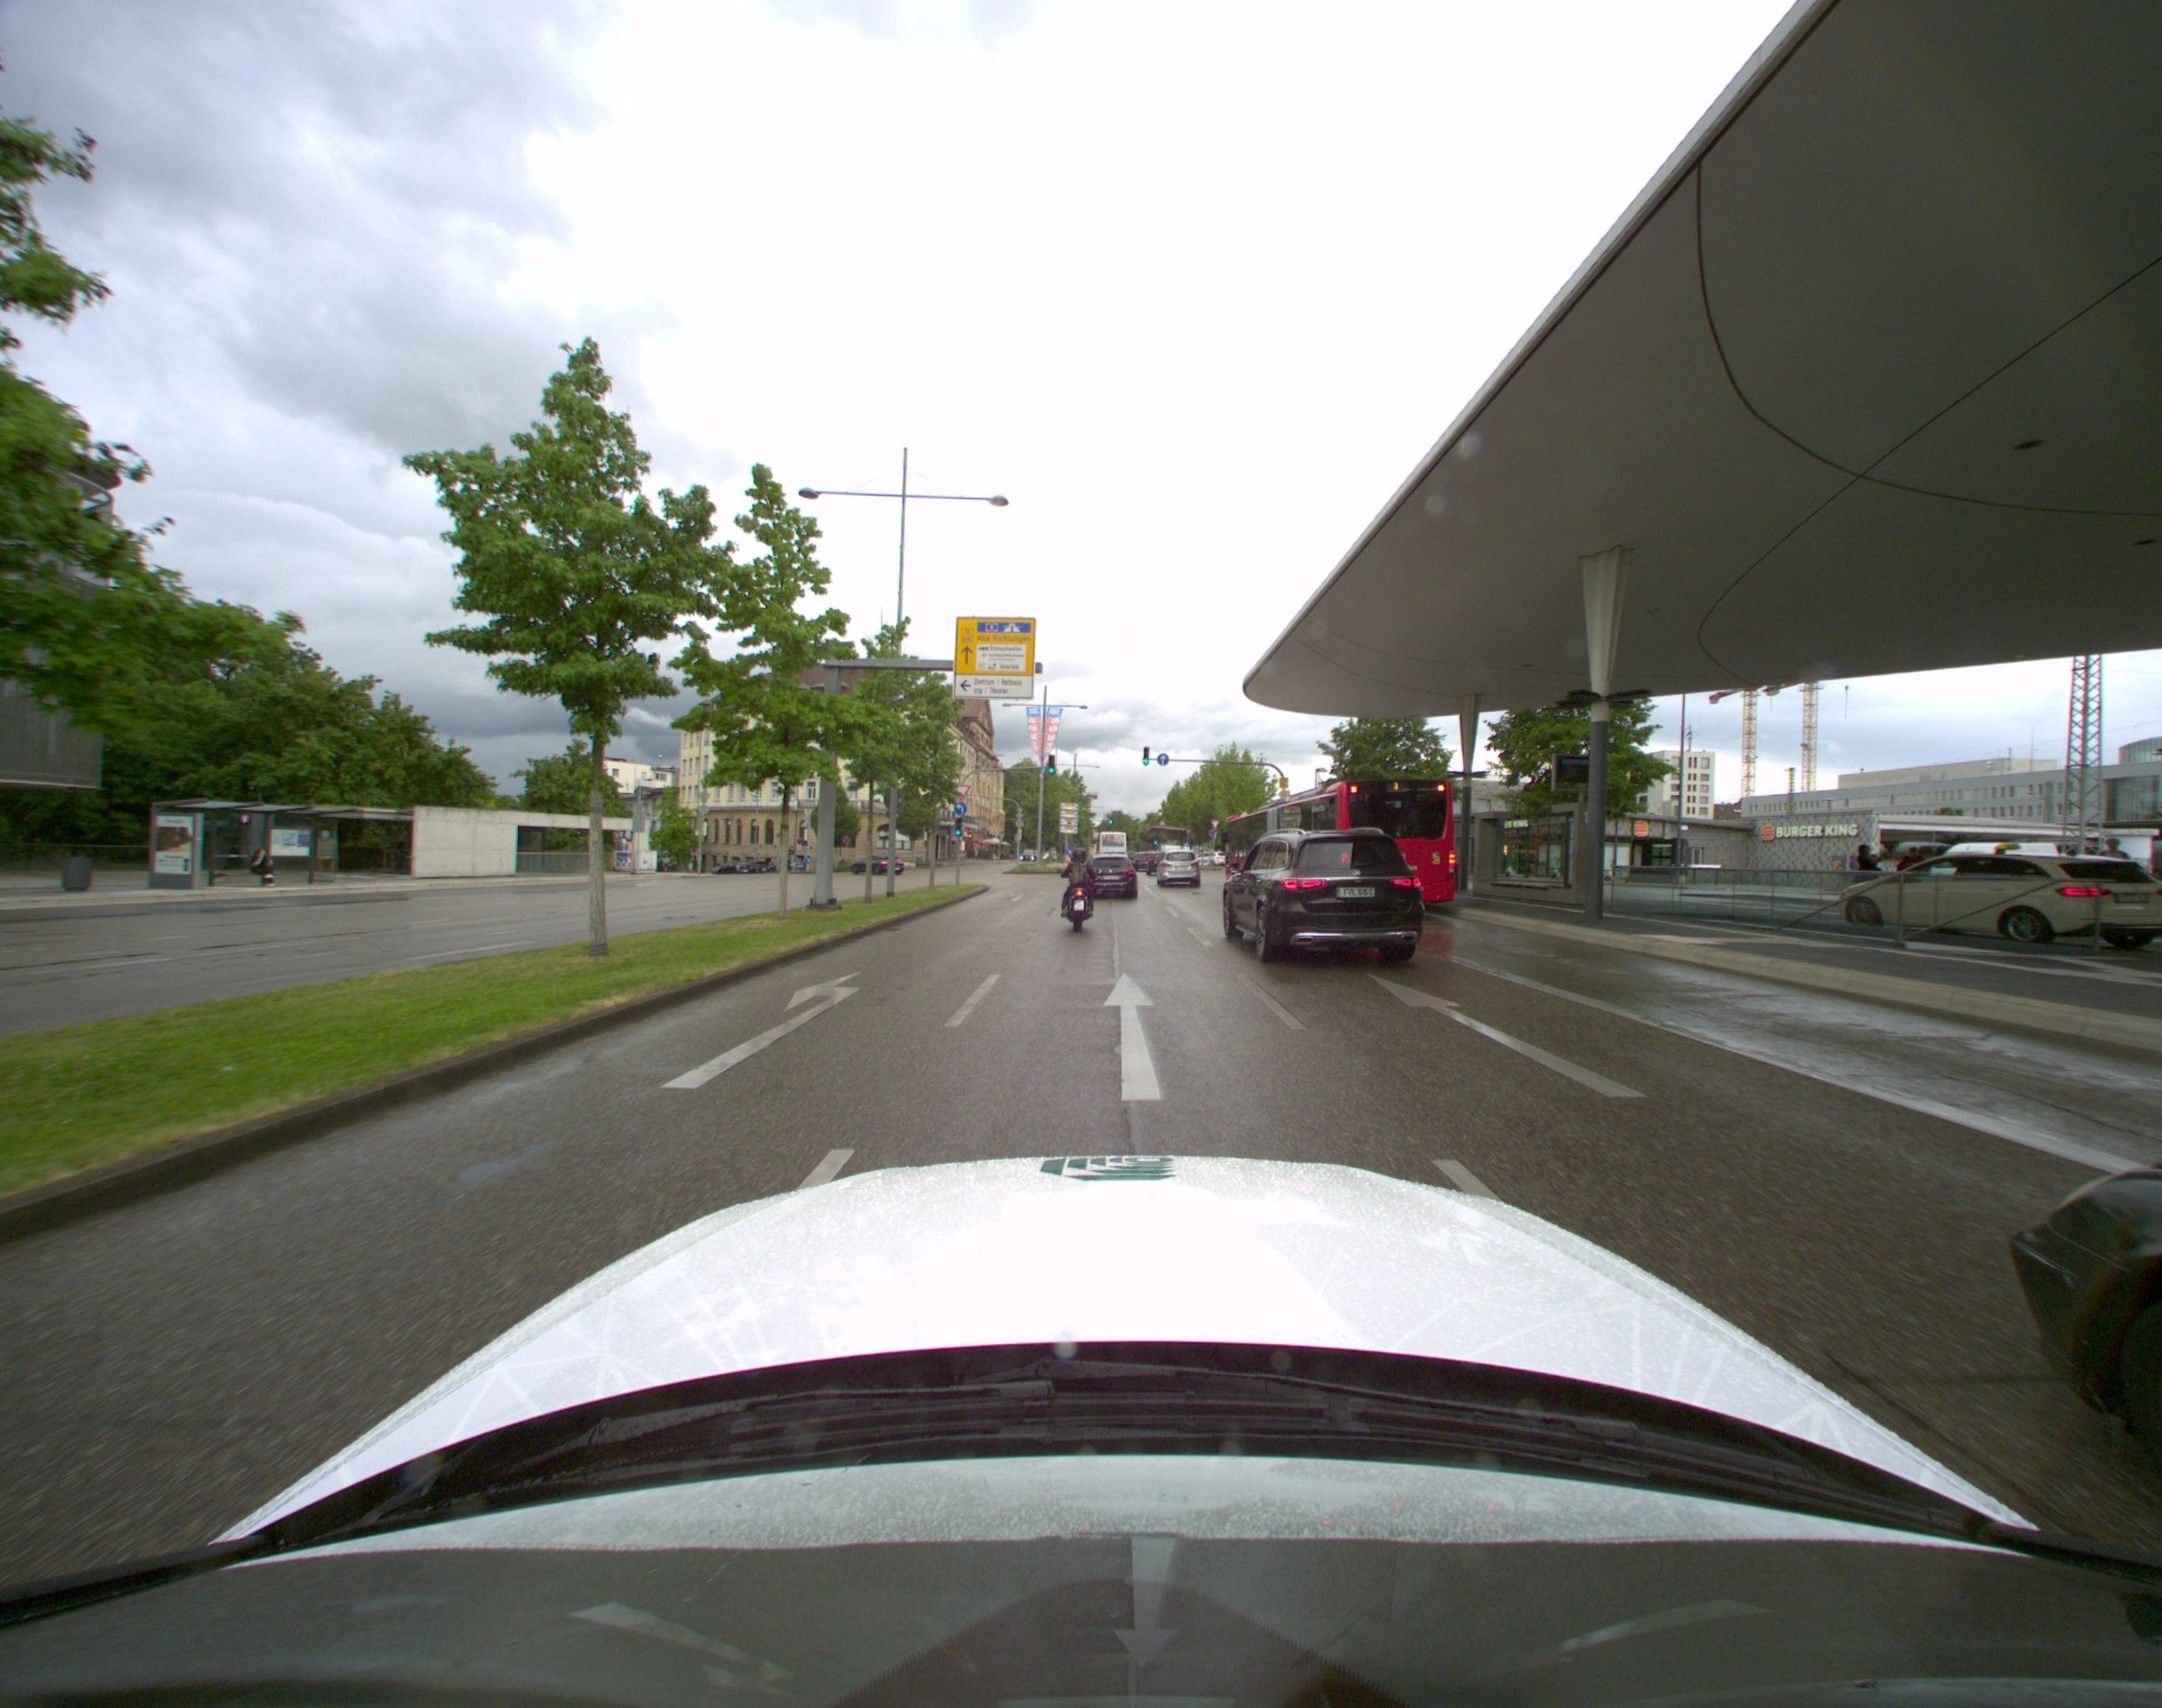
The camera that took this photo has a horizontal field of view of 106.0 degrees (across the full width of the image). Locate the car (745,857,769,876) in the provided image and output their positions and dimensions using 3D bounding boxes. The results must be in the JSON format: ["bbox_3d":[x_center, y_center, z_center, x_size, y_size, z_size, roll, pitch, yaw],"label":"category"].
[{"bbox_3d":[-30.166,1.128,75.787,1.667,1.604,3.223,-3,1,-27],"label":"car"}]

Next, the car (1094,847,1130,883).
[{"bbox_3d":[1.432,0.467,37.962,1.570,1.567,3.872,-1,0,2],"label":"car"}]

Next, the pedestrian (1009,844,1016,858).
[{"bbox_3d":[-10.028,-0.408,118.877,0.727,1.966,0.819,0,0,-25],"label":"pedestrian"}]

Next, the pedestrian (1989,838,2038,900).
[{"bbox_3d":[24.782,0.401,21.647,0.583,1.578,0.766,7,-4,-30],"label":"pedestrian"}]

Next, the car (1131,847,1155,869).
[{"bbox_3d":[4.596,0.288,60.756,1.570,1.567,3.797,-1,0,2],"label":"car"}]

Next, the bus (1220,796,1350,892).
[{"bbox_3d":[7.695,-0.347,32.112,3.278,3.289,8.854,0,0,2],"label":"bus"}]

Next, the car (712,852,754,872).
[{"bbox_3d":[-29.997,0.685,70.170,3.658,1.628,1.854,0,-1,39],"label":"car"}]

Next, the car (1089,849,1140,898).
[{"bbox_3d":[1.125,0.595,27.480,1.569,1.504,3.873,-1,0,2],"label":"car"}]

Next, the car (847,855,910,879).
[{"bbox_3d":[-14.386,0.944,57.796,4.347,1.570,1.834,-1,0,33],"label":"car"}]

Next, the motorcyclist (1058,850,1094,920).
[{"bbox_3d":[-0.098,0.589,15.883,0.638,1.347,0.690,0,0,5],"label":"motorcyclist"}]

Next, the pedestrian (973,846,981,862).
[{"bbox_3d":[-12.815,-0.005,100.087,0.727,2.013,0.819,0,0,-25],"label":"pedestrian"}]

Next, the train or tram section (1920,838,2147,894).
[{"bbox_3d":[72.880,0.810,63.049,3.120,3.659,12.326,4,0,1],"label":"train or tram section"}]

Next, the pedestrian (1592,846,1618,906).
[{"bbox_3d":[14.899,0.615,23.159,0.569,1.678,0.586,0,-1,28],"label":"pedestrian"}]

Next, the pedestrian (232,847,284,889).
[{"bbox_3d":[-27.203,0.452,26.932,0.967,1.267,0.854,4,1,22],"label":"pedestrian"}]

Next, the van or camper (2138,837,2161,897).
[{"bbox_3d":[46.059,0.541,31.549,2.087,2.508,6.212,1,0,-2],"label":"van or camper"}]

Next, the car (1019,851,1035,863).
[{"bbox_3d":[-7.150,0.381,108.731,1.773,1.567,3.431,-1,0,2],"label":"car"}]

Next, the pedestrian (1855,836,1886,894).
[{"bbox_3d":[22.511,0.321,23.226,0.574,1.578,0.777,1,-5,42],"label":"pedestrian"}]

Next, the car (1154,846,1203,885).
[{"bbox_3d":[4.168,0.477,35.360,1.734,1.567,3.872,-1,0,2],"label":"car"}]

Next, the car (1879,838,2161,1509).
[{"bbox_3d":[3.205,0.748,0.272,1.692,1.462,4.304,0,2,0],"label":"car"}]

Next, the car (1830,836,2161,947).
[{"bbox_3d":[16.177,0.583,14.565,1.706,1.662,4.240,2,0,1],"label":"car"}]

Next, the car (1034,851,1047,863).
[{"bbox_3d":[-5.668,0.394,114.909,1.570,1.567,3.431,-1,0,2],"label":"car"}]

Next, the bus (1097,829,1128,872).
[{"bbox_3d":[3.083,-0.277,82.260,2.827,3.988,11.866,1,0,1],"label":"bus"}]

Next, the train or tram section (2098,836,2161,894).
[{"bbox_3d":[72.639,0.782,51.097,3.120,3.659,11.618,4,0,1],"label":"train or tram section"}]

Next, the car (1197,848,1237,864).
[{"bbox_3d":[13.498,0.233,80.993,1.588,1.567,3.753,-1,0,-37],"label":"car"}]

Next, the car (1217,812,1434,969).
[{"bbox_3d":[3.408,0.439,12.438,1.950,1.876,4.875,-1,0,2],"label":"car"}]

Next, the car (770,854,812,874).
[{"bbox_3d":[-25.703,0.867,72.099,2.131,1.776,4.340,0,0,-41],"label":"car"}]

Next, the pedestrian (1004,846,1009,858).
[{"bbox_3d":[-10.967,-0.309,120.433,0.555,1.778,0.502,0,0,36],"label":"pedestrian"}]

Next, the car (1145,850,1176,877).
[{"bbox_3d":[4.826,0.548,49.737,1.570,1.567,3.872,-1,0,2],"label":"car"}]

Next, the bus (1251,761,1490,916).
[{"bbox_3d":[7.304,-0.334,22.816,3.273,3.292,10.884,0,0,2],"label":"bus"}]

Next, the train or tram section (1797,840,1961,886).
[{"bbox_3d":[73.138,0.736,75.284,3.120,3.659,12.326,4,0,1],"label":"train or tram section"}]

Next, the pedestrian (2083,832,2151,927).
[{"bbox_3d":[22.864,0.567,17.992,0.717,2.014,0.673,2,-4,28],"label":"pedestrian"}]

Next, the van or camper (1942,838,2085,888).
[{"bbox_3d":[44.708,0.435,39.128,4.674,2.269,2.108,1,-1,-3],"label":"van or camper"}]

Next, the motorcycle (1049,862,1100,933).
[{"bbox_3d":[-0.092,0.798,15.688,0.789,1.262,1.857,-1,0,5],"label":"motorcycle"}]

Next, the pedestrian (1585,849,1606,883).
[{"bbox_3d":[24.738,0.576,39.164,0.601,1.578,0.674,4,-4,7],"label":"pedestrian"}]
